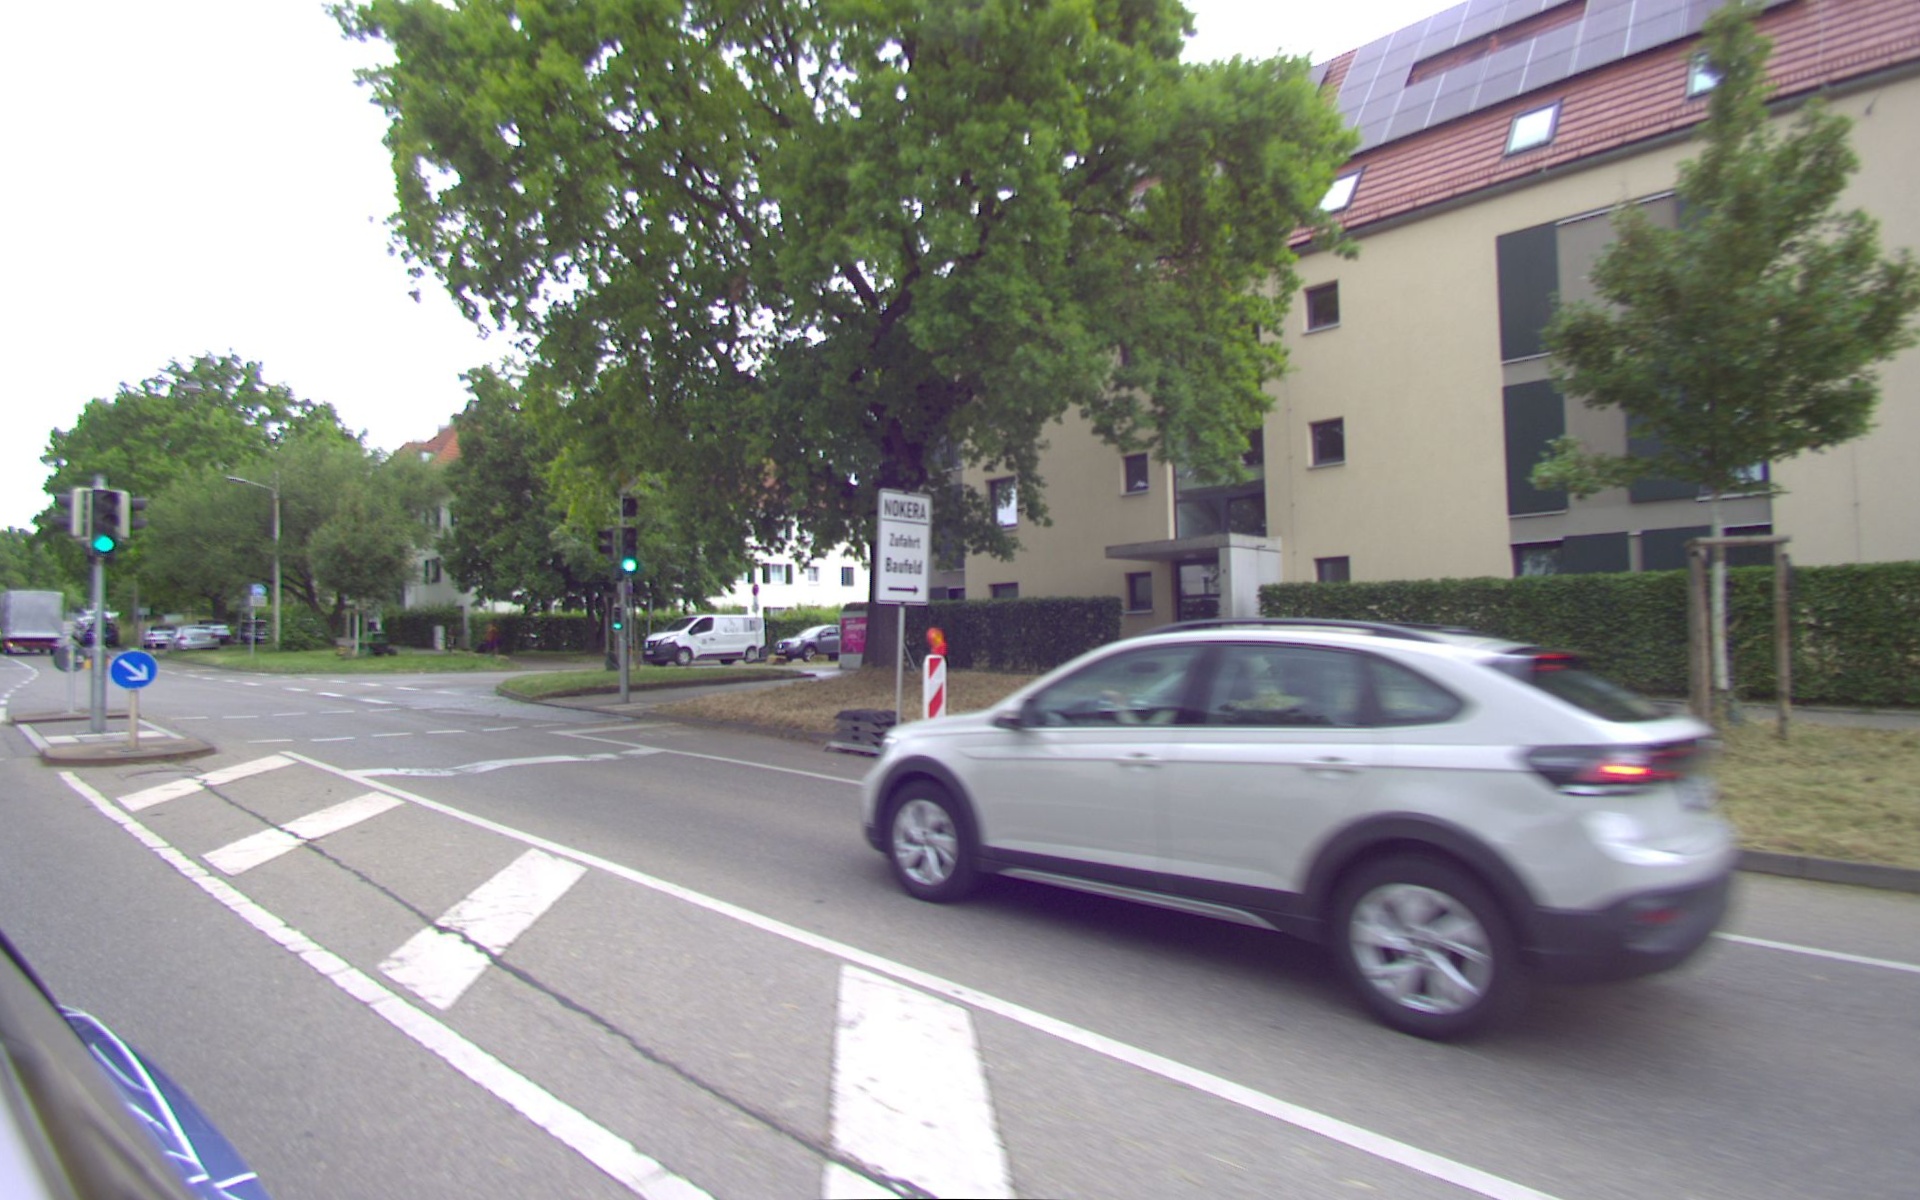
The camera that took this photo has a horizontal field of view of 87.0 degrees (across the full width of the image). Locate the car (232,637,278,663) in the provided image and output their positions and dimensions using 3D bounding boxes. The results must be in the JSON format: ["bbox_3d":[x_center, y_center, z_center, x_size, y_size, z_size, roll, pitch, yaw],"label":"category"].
[{"bbox_3d":[-43.619,3.073,62.600,3.874,1.442,1.657,-2,-1,45],"label":"car"}]

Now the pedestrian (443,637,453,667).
[{"bbox_3d":[-22.081,2.228,43.669,0.353,1.281,0.361,1,-2,-23],"label":"pedestrian"}]

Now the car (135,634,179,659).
[{"bbox_3d":[-47.911,2.734,60.356,1.582,1.364,4.002,0,-1,-45],"label":"car"}]

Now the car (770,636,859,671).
[{"bbox_3d":[-6.105,2.233,42.685,1.539,1.323,3.487,-2,-1,45],"label":"car"}]

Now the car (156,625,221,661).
[{"bbox_3d":[-38.992,2.126,51.084,4.547,1.689,1.971,-1,-1,44],"label":"car"}]

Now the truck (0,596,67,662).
[{"bbox_3d":[-48.909,1.521,53.073,7.216,3.262,2.340,-1,-2,43],"label":"truck"}]

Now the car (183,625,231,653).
[{"bbox_3d":[-45.999,2.378,61.803,1.835,1.618,4.002,0,-1,-45],"label":"car"}]

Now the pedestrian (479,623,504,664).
[{"bbox_3d":[-20.569,1.921,44.449,0.683,1.770,0.774,-1,-1,12],"label":"pedestrian"}]

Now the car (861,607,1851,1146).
[{"bbox_3d":[1.536,0.829,4.836,4.029,1.475,1.782,-1,-3,43],"label":"car"}]

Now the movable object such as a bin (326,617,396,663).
[{"bbox_3d":[-25.469,1.679,43.011,3.237,1.918,1.088,-1,-1,30],"label":"movable object such as a bin"}]

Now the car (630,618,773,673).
[{"bbox_3d":[-9.872,1.680,38.976,2.000,1.932,5.083,-2,-1,44],"label":"car"}]

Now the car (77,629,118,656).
[{"bbox_3d":[-56.467,2.765,66.253,1.969,1.697,4.006,0,-1,-41],"label":"car"}]
